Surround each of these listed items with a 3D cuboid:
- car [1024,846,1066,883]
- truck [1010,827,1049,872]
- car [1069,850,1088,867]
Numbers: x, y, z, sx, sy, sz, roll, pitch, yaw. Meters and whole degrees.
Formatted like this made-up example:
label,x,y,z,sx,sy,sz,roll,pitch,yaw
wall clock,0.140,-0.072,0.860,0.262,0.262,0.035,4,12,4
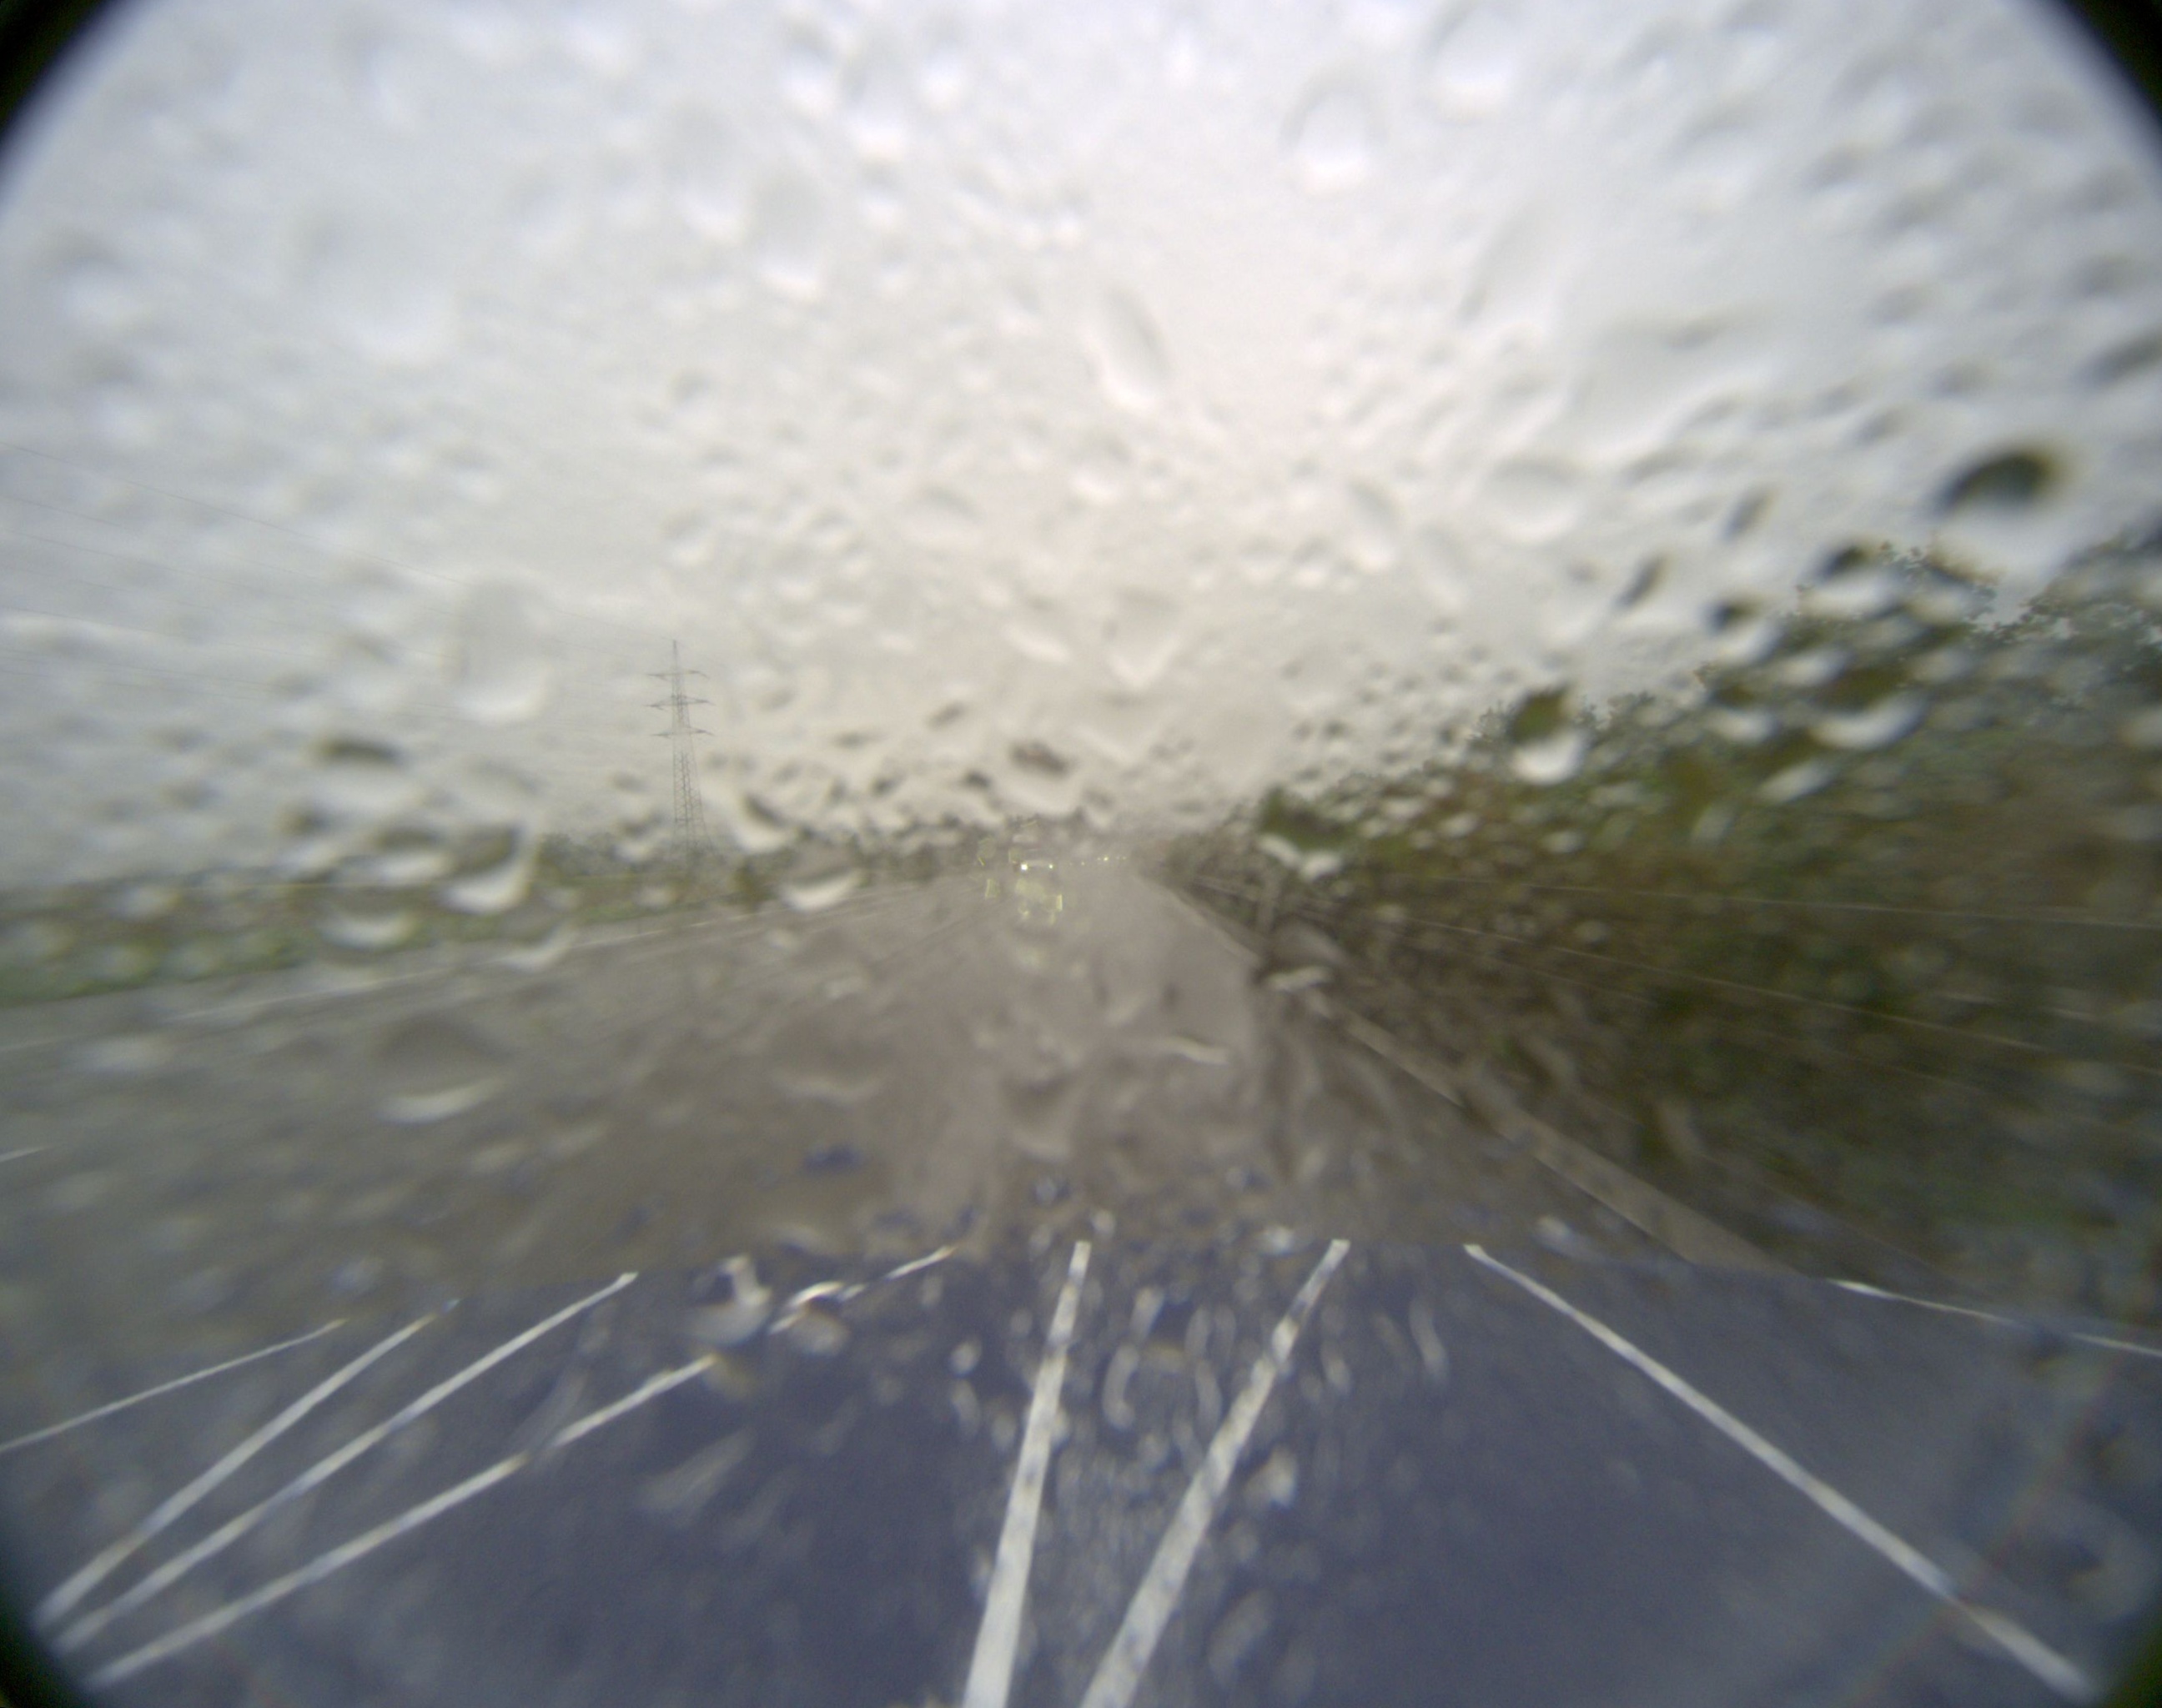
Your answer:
label,x,y,z,sx,sy,sz,roll,pitch,yaw
car,-2.083,0.598,44.971,1.998,2.002,4.000,-3,0,3
truck,-5.616,-0.519,84.514,3.136,4.642,11.403,-2,1,1
car,-0.284,0.513,94.882,1.998,2.002,4.001,-2,1,4
